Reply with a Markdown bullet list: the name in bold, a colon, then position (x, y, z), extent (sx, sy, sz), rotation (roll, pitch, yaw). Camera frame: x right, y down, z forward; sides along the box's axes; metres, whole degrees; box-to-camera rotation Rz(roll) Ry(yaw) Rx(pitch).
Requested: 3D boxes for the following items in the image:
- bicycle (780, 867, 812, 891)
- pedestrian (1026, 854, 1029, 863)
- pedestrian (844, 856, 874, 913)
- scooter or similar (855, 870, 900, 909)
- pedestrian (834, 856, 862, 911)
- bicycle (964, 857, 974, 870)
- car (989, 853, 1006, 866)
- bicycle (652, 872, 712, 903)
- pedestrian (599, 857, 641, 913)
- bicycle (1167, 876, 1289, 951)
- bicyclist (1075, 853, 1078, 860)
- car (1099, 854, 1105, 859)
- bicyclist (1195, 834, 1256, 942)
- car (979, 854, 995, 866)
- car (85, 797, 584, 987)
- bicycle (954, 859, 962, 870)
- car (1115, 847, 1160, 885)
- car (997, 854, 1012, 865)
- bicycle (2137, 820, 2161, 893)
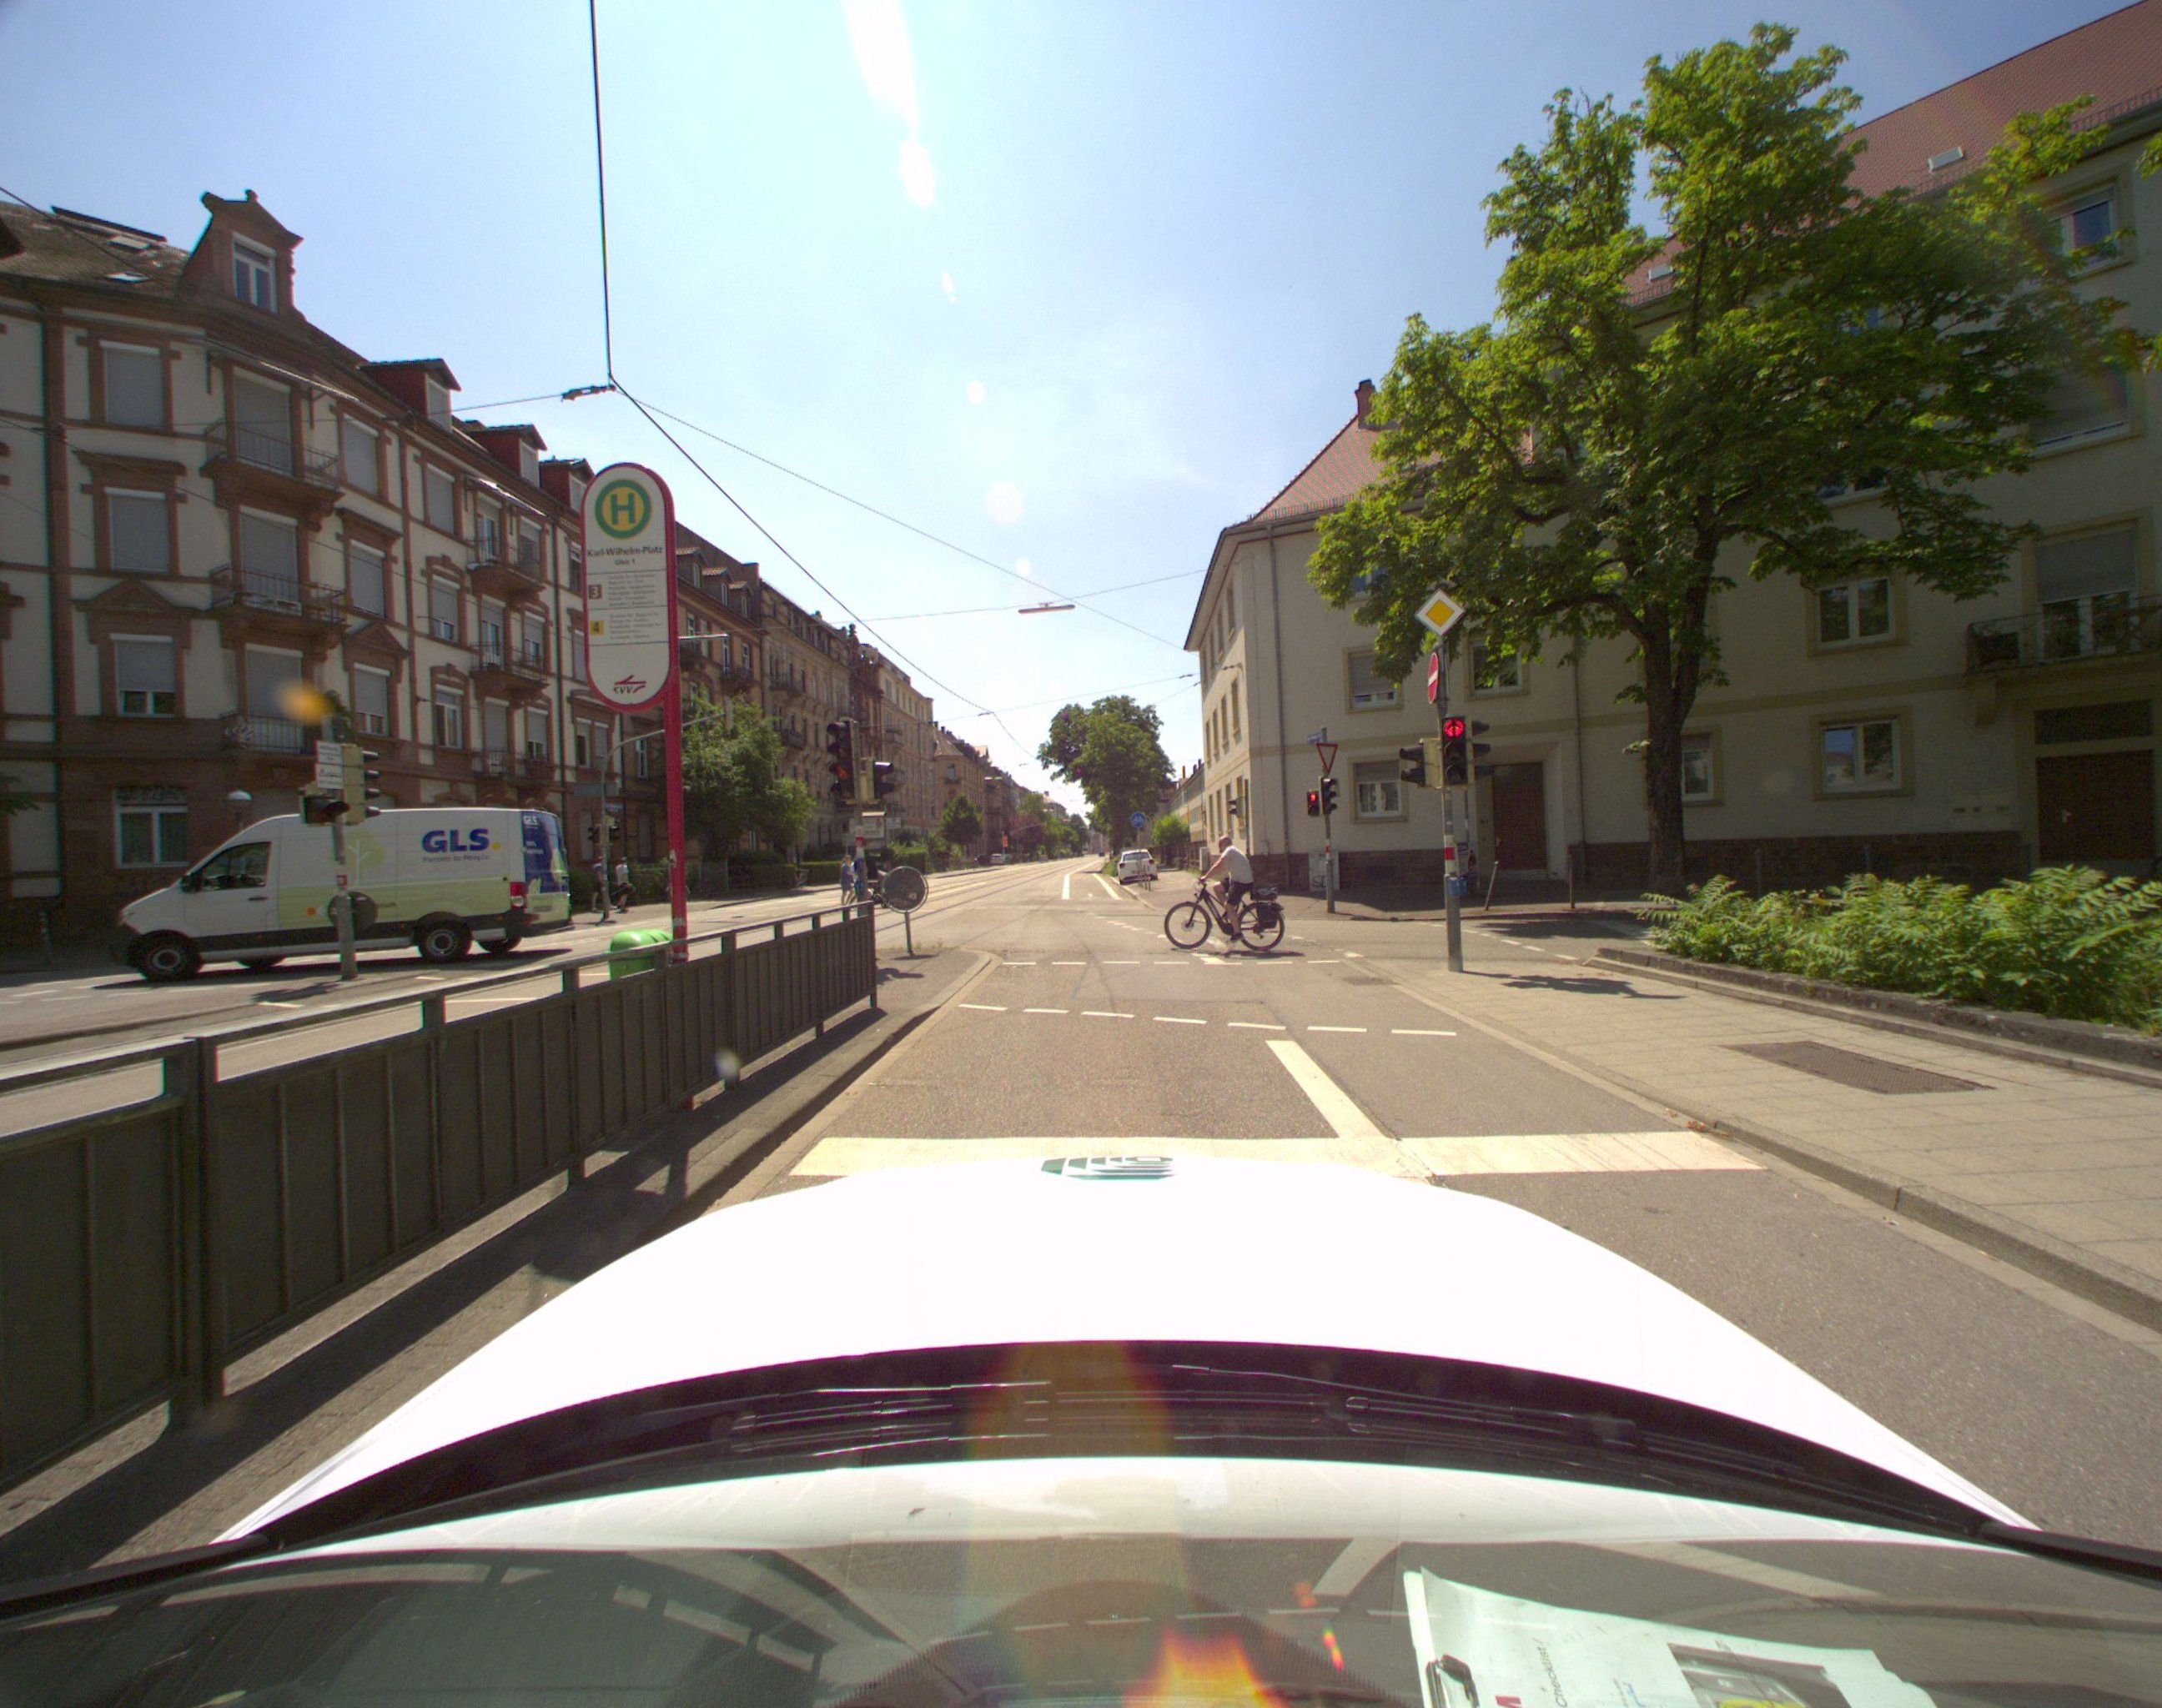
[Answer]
- **bicycle**: position (-14.410, 1.253, 41.247), extent (0.936, 1.136, 2.767), rotation (0, -1, -7)
- **pedestrian**: position (-8.837, 0.683, 134.673), extent (0.404, 1.461, 0.436), rotation (-2, 0, 1)
- **pedestrian**: position (-6.466, 0.878, 23.757), extent (0.671, 1.645, 0.559), rotation (0, -1, 6)
- **scooter or similar**: position (-6.163, 1.076, 24.666), extent (1.195, 1.155, 0.559), rotation (0, -1, 6)
- **pedestrian**: position (-7.081, 0.891, 24.766), extent (0.671, 1.645, 0.559), rotation (0, -1, 6)
- **bicycle**: position (-11.707, 0.952, 85.129), extent (0.675, 1.278, 1.918), rotation (-2, 0, -1)
- **car**: position (-11.879, 0.803, 116.058), extent (1.912, 1.715, 4.001), rotation (0, -1, 2)
- **bicycle**: position (-15.666, 1.300, 32.075), extent (0.934, 1.136, 2.774), rotation (0, -1, 1)
- **pedestrian**: position (-15.525, 1.027, 27.424), extent (0.810, 1.822, 0.877), rotation (0, 1, 13)
- **bicycle**: position (2.238, 0.897, 12.407), extent (1.749, 1.057, 0.702), rotation (-2, -1, 12)
- **bicyclist**: position (-1.235, 0.697, 219.484), extent (0.724, 1.818, 1.080), rotation (0, -1, 3)
- **car**: position (5.873, 0.700, 228.486), extent (1.818, 1.519, 4.001), rotation (0, -1, 2)
- **bicyclist**: position (2.209, 0.509, 12.429), extent (0.841, 1.592, 0.702), rotation (-2, -1, 12)
- **car**: position (-14.331, 0.888, 124.460), extent (1.912, 1.715, 4.001), rotation (0, -1, 2)
- **car**: position (-12.201, 0.536, 13.896), extent (5.814, 2.673, 2.265), rotation (-3, 0, -12)
- **bicycle**: position (-12.151, 1.025, 80.492), extent (0.677, 1.064, 1.912), rotation (-2, 0, -9)
- **car**: position (2.529, 0.529, 37.414), extent (1.808, 1.516, 4.001), rotation (-4, -1, 2)
- **car**: position (-11.659, 0.867, 124.322), extent (1.912, 1.715, 4.001), rotation (0, -1, 2)
- **bicycle**: position (17.014, 0.021, 12.077), extent (0.527, 1.104, 1.589), rotation (-2, 0, -34)
